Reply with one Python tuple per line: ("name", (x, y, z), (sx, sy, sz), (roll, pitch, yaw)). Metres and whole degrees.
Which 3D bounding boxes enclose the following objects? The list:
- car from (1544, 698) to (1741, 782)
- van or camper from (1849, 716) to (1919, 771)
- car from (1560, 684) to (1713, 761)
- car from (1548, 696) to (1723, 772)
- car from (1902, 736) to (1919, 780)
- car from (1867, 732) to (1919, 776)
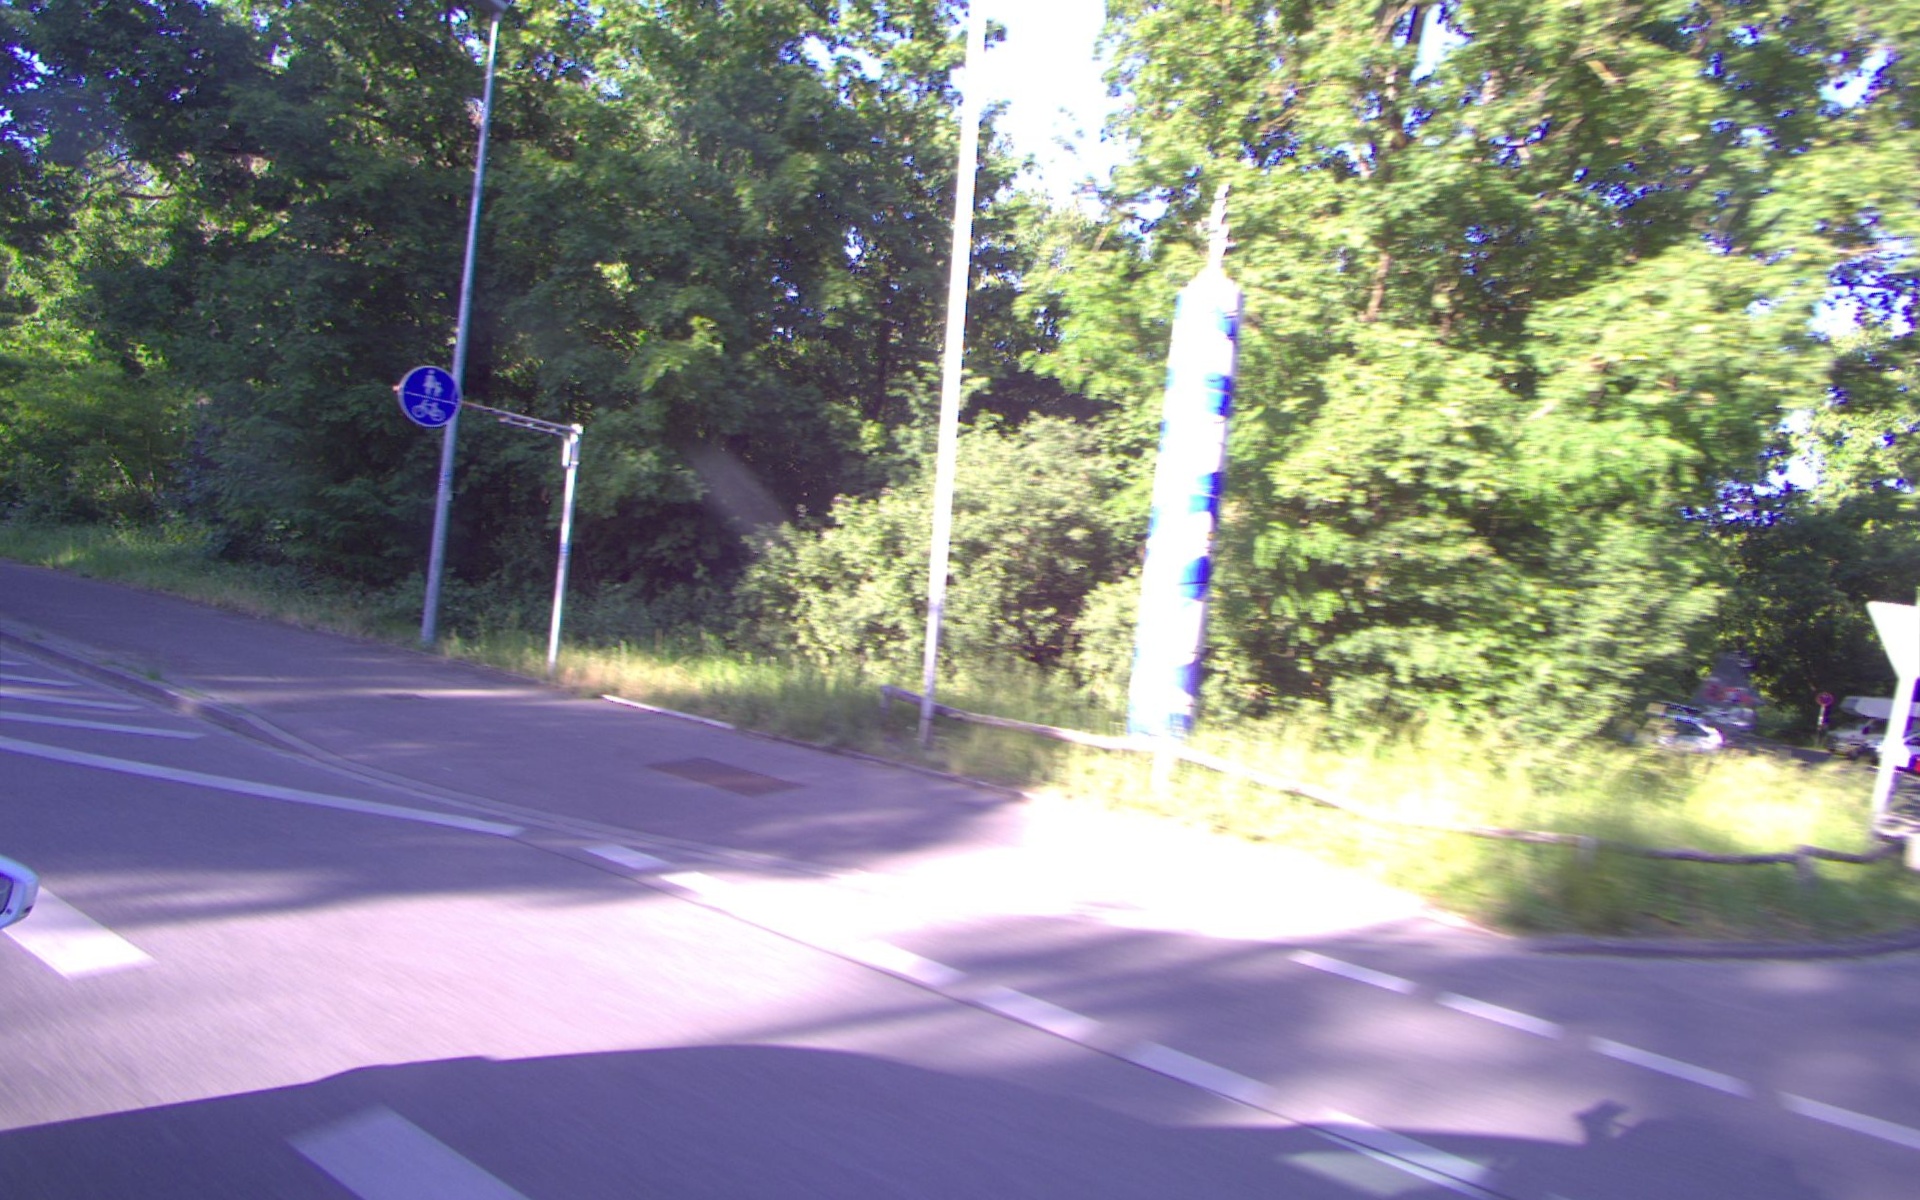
("car", (16.373, 3.314, 24.354), (3.674, 1.393, 1.614), (6, -1, 29))
("van or camper", (38.575, 5.866, 39.748), (4.751, 1.881, 1.787), (6, -1, 32))
("car", (20.698, 3.716, 30.956), (3.676, 1.762, 1.613), (6, -1, 32))
("car", (17.902, 3.520, 26.856), (3.676, 1.393, 1.613), (6, -1, 32))
("car", (35.424, 5.784, 35.037), (3.470, 1.471, 1.502), (6, -1, 32))
("car", (36.529, 5.921, 37.663), (3.470, 1.418, 1.502), (6, -1, 32))
